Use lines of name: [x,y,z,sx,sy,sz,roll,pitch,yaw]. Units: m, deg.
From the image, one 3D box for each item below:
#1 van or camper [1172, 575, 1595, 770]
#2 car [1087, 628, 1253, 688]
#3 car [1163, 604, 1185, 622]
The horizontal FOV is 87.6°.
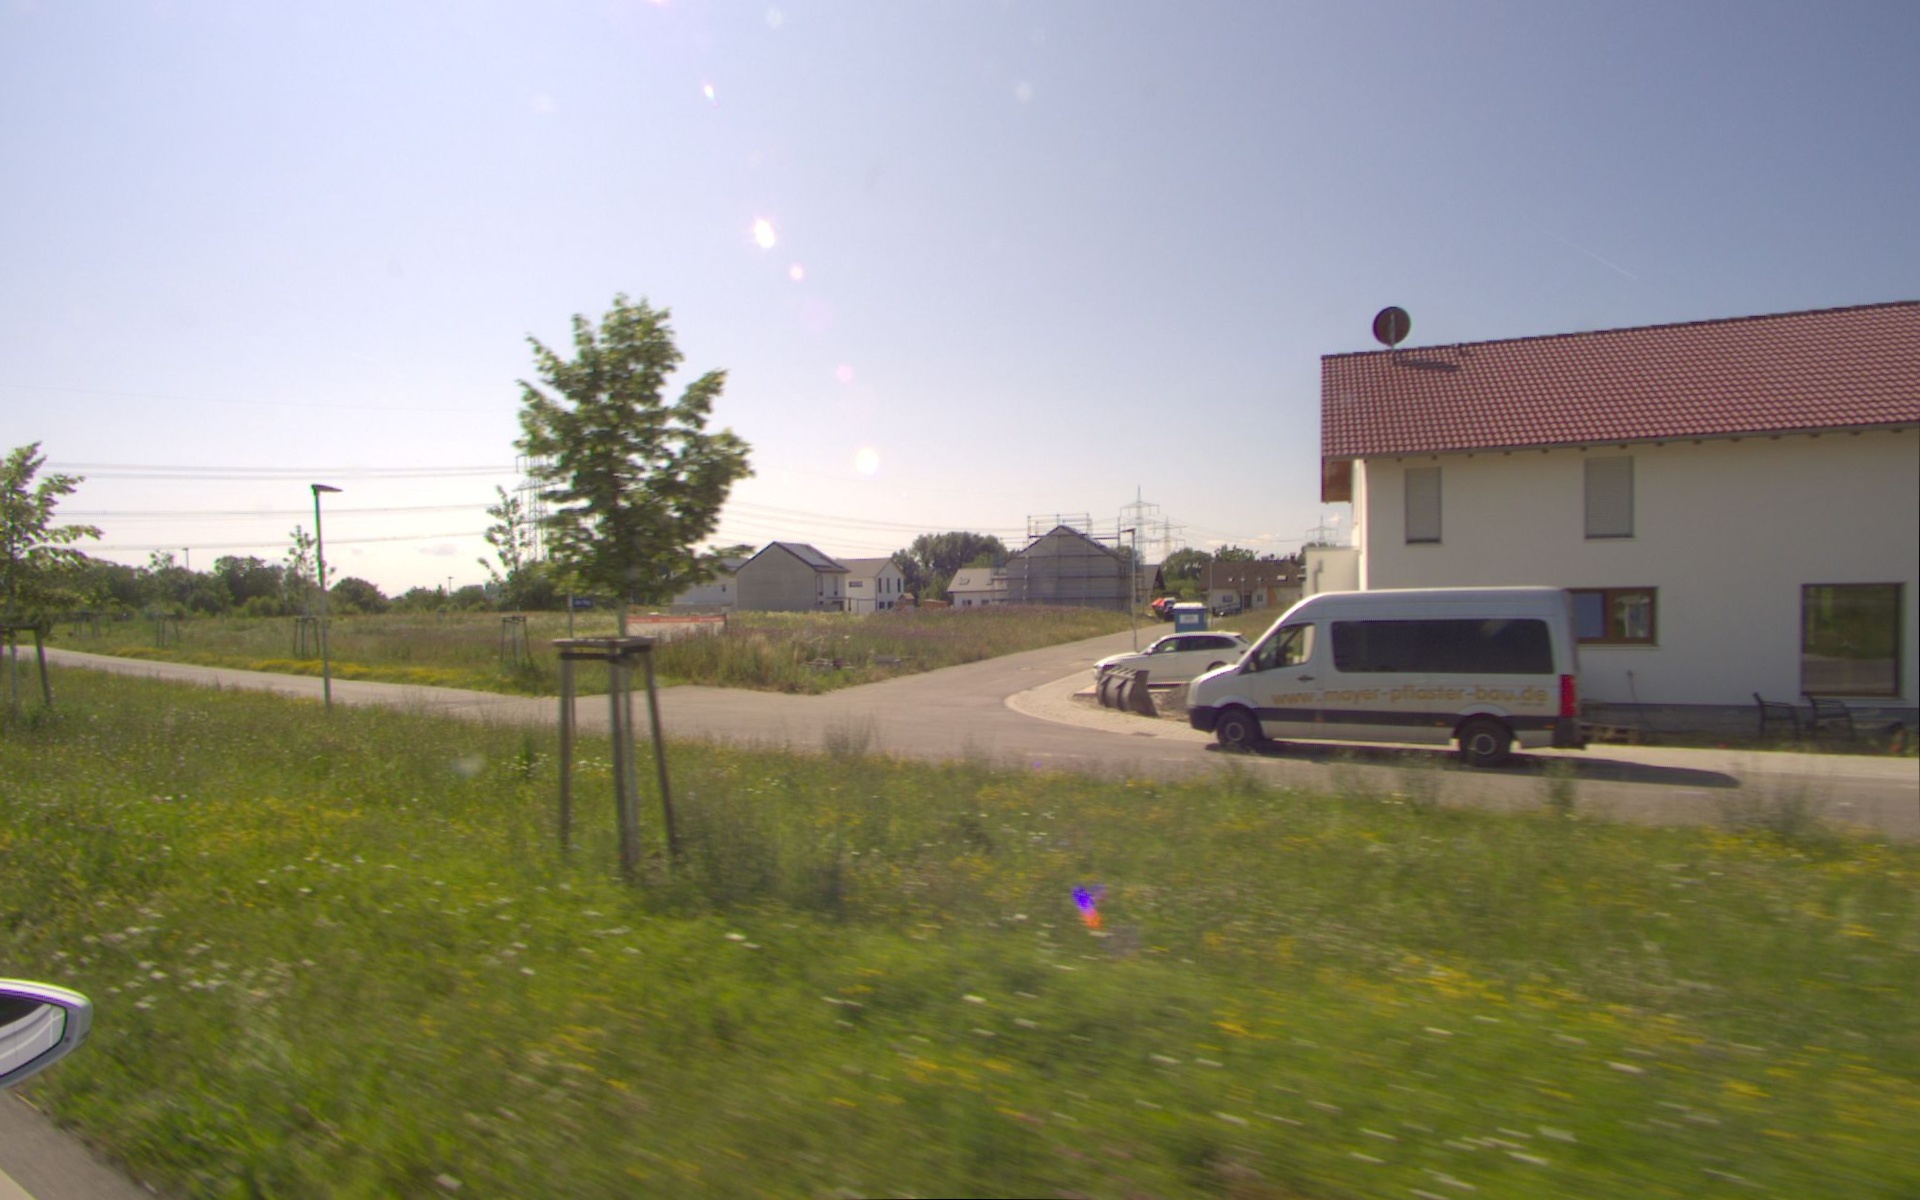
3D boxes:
van or camper: [6.643,1.049,16.081,5.945,2.635,2.168,-1,-1,32]
car: [5.852,1.585,27.898,4.407,1.577,1.562,-1,-1,18]
car: [20.880,1.225,97.815,1.711,1.540,3.991,-1,1,18]
